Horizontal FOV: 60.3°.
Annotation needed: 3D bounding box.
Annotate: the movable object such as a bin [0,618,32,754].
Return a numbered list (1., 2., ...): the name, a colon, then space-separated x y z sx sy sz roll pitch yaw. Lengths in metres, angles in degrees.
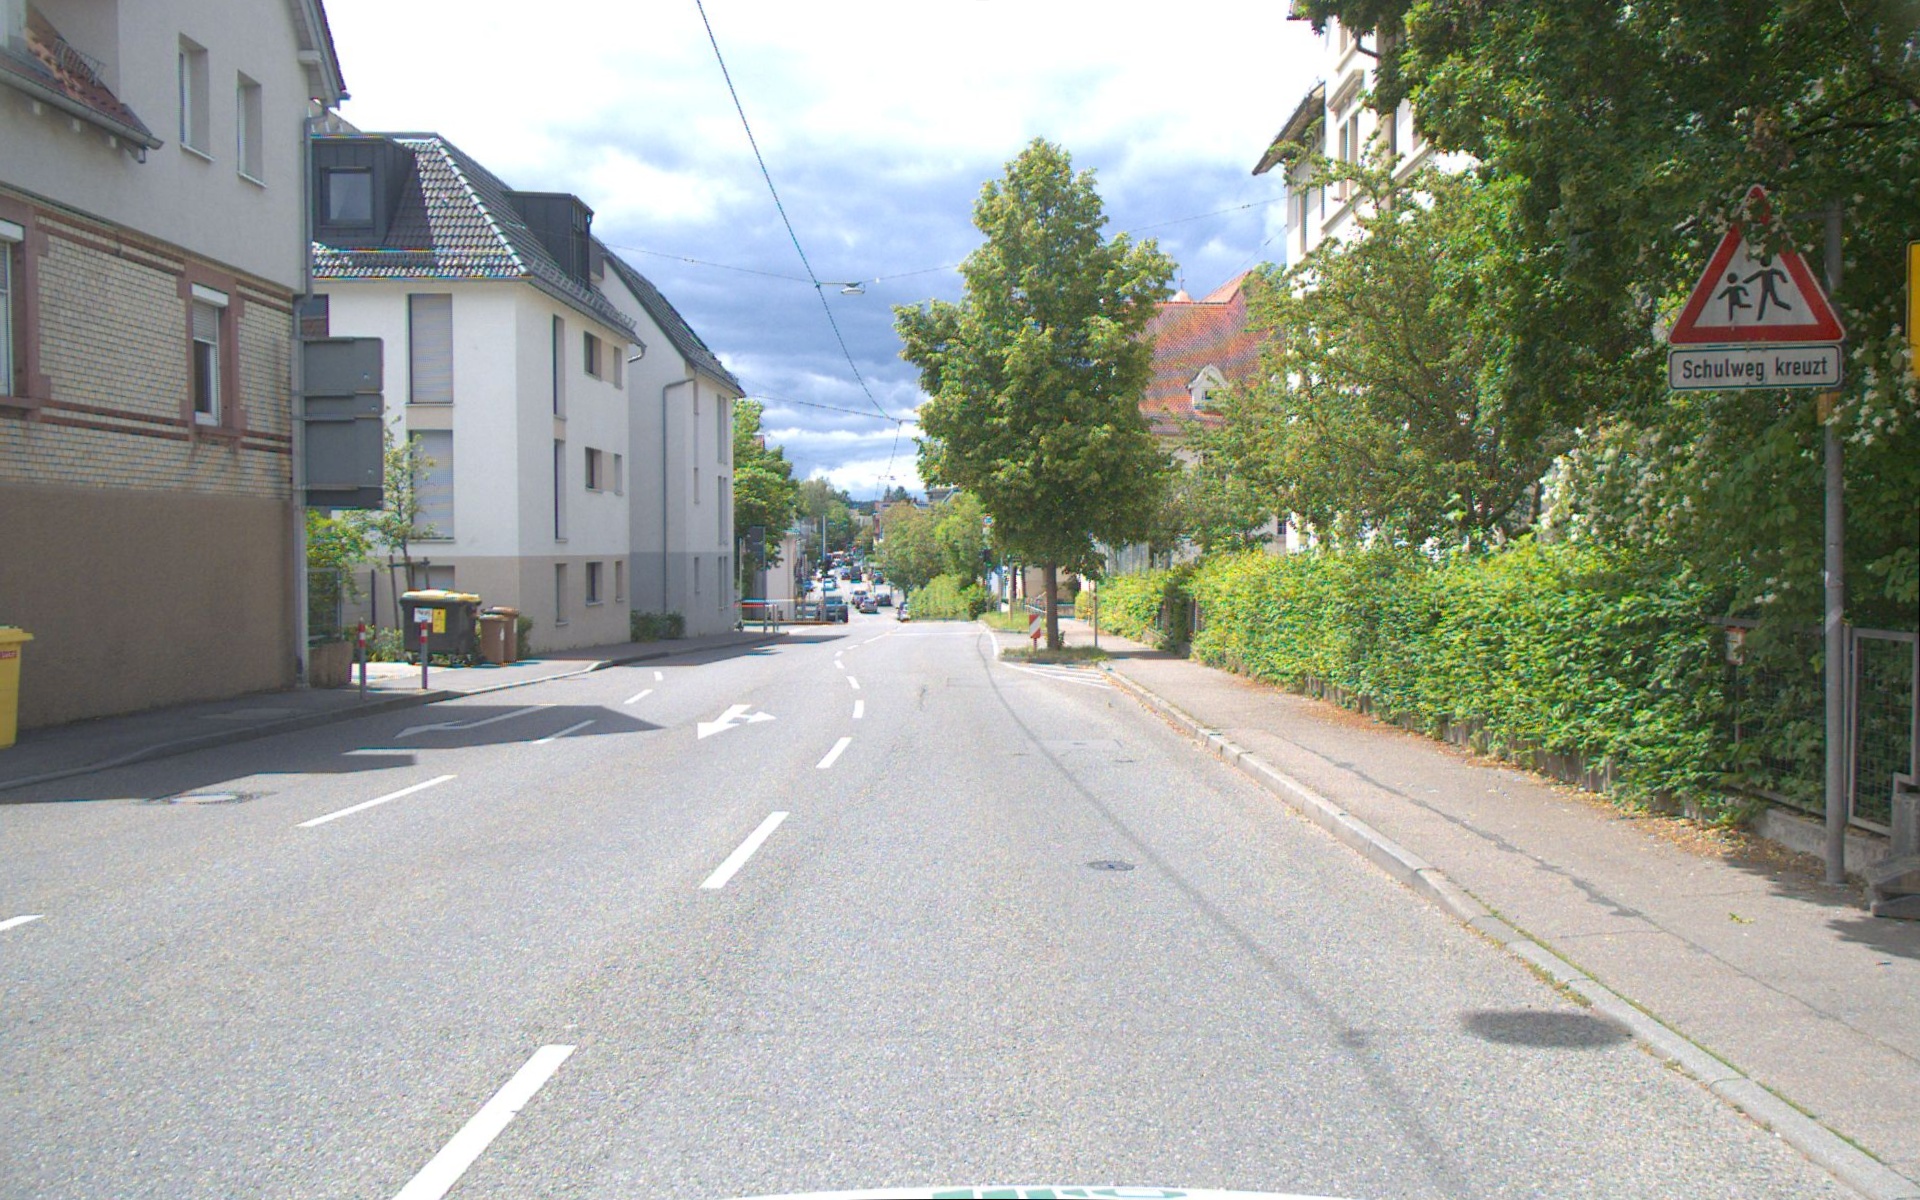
1. movable object such as a bin: -8.815 0.762 14.644 0.749 1.182 0.802 0 0 -2

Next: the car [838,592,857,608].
1. car: -13.840 0.020 203.463 1.804 1.894 3.839 0 0 -12

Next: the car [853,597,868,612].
1. car: -11.671 0.528 193.550 1.251 1.553 3.042 -1 3 -12

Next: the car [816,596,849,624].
1. car: -7.466 0.569 97.164 1.759 1.638 4.643 0 0 -3

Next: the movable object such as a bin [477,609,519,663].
1. movable object such as a bin: -8.899 0.694 31.862 0.627 1.018 0.657 0 0 -1

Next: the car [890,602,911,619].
1. car: -5.539 0.986 153.598 1.751 1.535 4.360 0 0 -5

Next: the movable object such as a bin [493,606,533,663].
1. movable object such as a bin: -8.812 0.676 32.609 0.628 1.094 0.660 0 0 -3

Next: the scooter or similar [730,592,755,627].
1. scooter or similar: -8.223 0.361 62.586 0.484 1.283 1.294 -1 0 -29

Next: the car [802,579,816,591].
1. car: -22.037 -2.135 241.162 1.835 1.668 3.998 1 0 -3

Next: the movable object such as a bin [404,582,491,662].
1. movable object such as a bin: -9.622 0.406 31.115 1.308 1.471 1.170 0 0 -4

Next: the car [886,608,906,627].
1. car: -6.179 1.652 159.335 1.808 1.798 4.510 0 0 -5

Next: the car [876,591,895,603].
1. car: -9.065 -0.333 200.411 1.721 1.395 3.989 0 0 -11

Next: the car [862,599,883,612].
1. car: -9.804 0.602 184.641 1.714 1.441 3.988 0 0 -12
